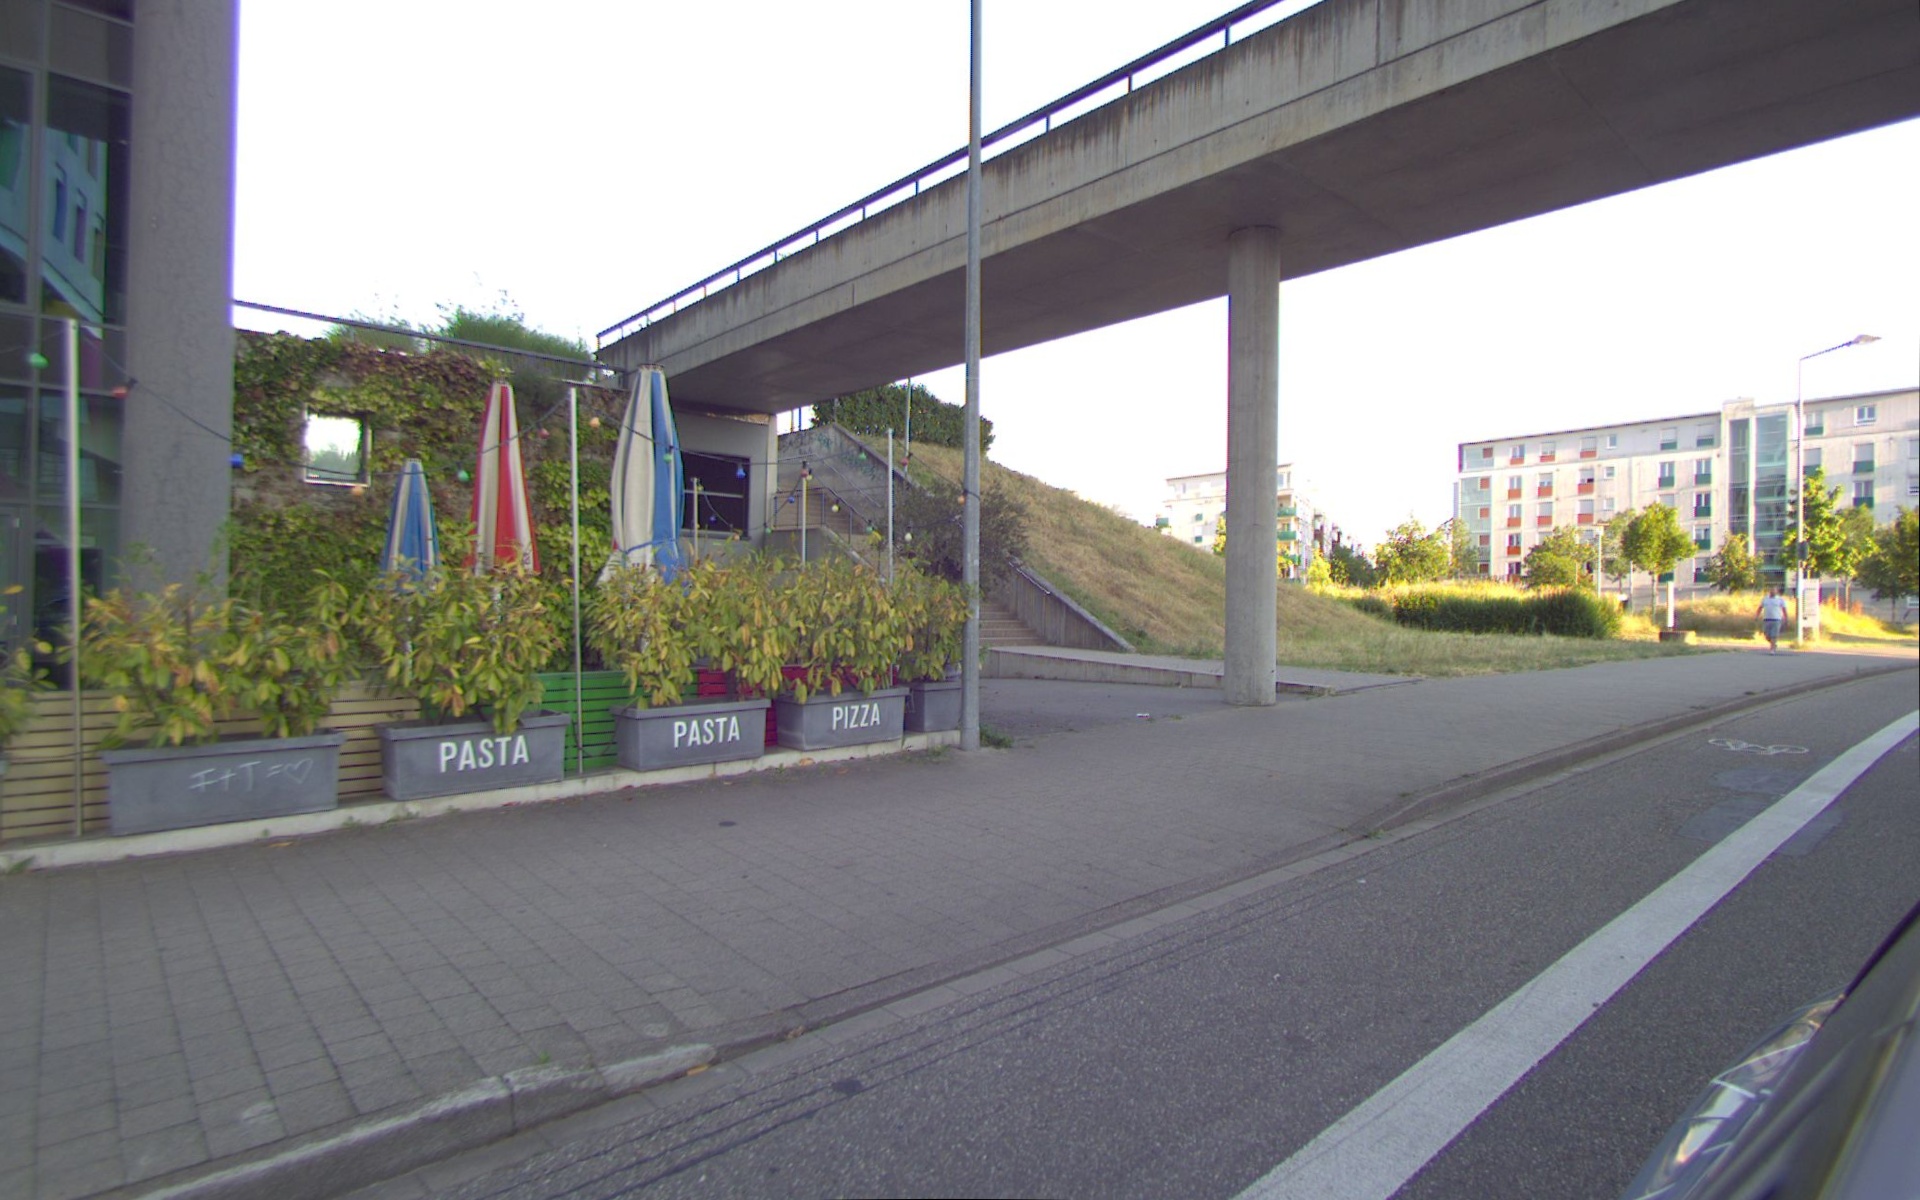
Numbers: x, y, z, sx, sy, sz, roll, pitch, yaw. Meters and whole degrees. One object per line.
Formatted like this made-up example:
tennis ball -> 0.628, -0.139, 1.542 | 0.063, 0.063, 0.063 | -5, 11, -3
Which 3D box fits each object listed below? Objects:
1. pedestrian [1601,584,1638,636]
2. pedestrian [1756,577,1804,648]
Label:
pedestrian -> 21.416, 0.324, 32.846 | 0.844, 1.650, 0.737 | 1, 2, -39
pedestrian -> 20.695, 0.306, 25.527 | 0.890, 1.745, 0.737 | 1, 2, -40
